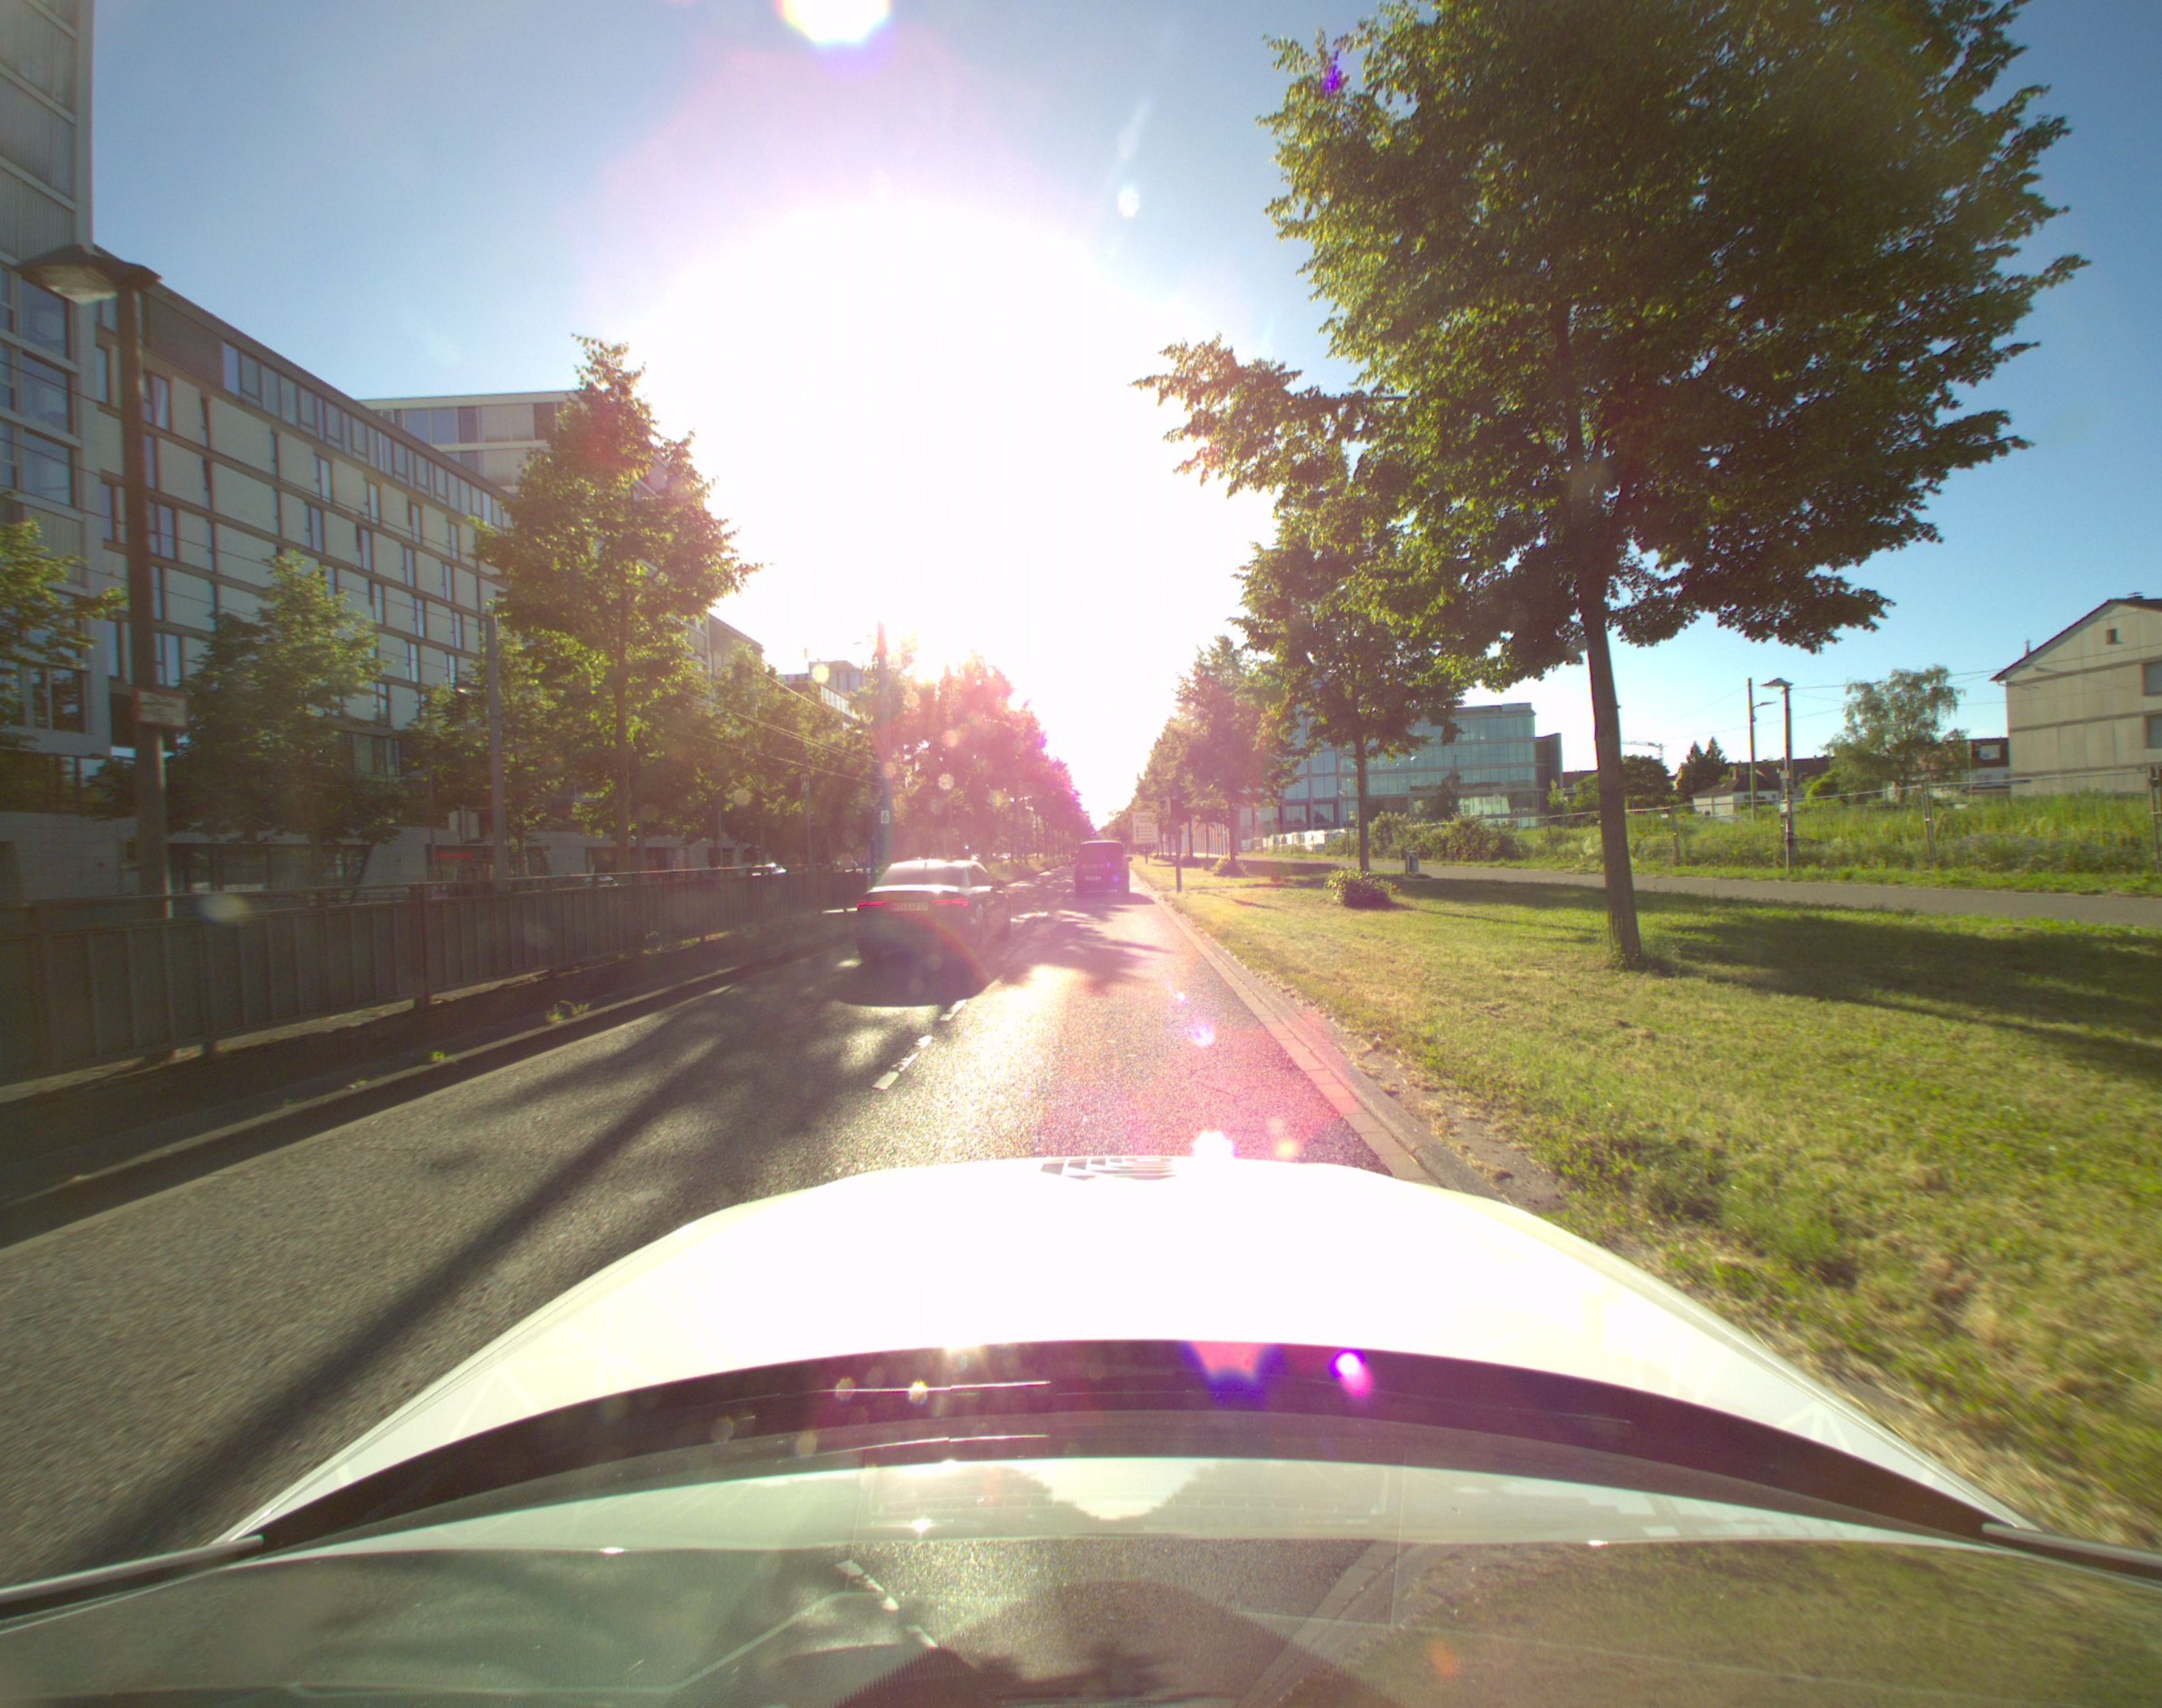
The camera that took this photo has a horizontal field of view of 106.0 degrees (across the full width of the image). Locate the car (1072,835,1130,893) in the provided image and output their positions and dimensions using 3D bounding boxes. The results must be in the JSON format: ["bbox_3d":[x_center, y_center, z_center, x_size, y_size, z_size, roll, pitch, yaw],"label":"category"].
[{"bbox_3d":[0.659,0.288,27.597,1.791,1.777,4.000,-1,0,0],"label":"car"}]

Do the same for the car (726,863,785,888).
[{"bbox_3d":[-21.134,1.358,53.059,1.811,1.403,4.511,-3,0,1],"label":"car"}]

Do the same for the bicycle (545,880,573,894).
[{"bbox_3d":[-36.402,2.292,56.808,0.539,0.881,2.015,-2,0,2],"label":"bicycle"}]

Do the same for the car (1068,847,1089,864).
[{"bbox_3d":[-0.246,0.144,78.481,1.936,1.441,3.999,-3,0,0],"label":"car"}]

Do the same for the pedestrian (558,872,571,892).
[{"bbox_3d":[-35.935,1.942,56.641,0.406,1.413,0.690,-2,-1,2],"label":"pedestrian"}]

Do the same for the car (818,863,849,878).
[{"bbox_3d":[-28.060,1.872,92.488,1.708,1.420,4.549,-3,0,4],"label":"car"}]

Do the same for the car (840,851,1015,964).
[{"bbox_3d":[-2.146,0.685,12.539,1.714,1.366,4.149,0,1,3],"label":"car"}]

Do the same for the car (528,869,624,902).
[{"bbox_3d":[-23.973,1.454,38.859,1.753,1.403,4.334,-2,-1,1],"label":"car"}]

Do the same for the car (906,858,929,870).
[{"bbox_3d":[-19.086,1.131,95.309,1.761,1.238,3.488,-3,0,3],"label":"car"}]
